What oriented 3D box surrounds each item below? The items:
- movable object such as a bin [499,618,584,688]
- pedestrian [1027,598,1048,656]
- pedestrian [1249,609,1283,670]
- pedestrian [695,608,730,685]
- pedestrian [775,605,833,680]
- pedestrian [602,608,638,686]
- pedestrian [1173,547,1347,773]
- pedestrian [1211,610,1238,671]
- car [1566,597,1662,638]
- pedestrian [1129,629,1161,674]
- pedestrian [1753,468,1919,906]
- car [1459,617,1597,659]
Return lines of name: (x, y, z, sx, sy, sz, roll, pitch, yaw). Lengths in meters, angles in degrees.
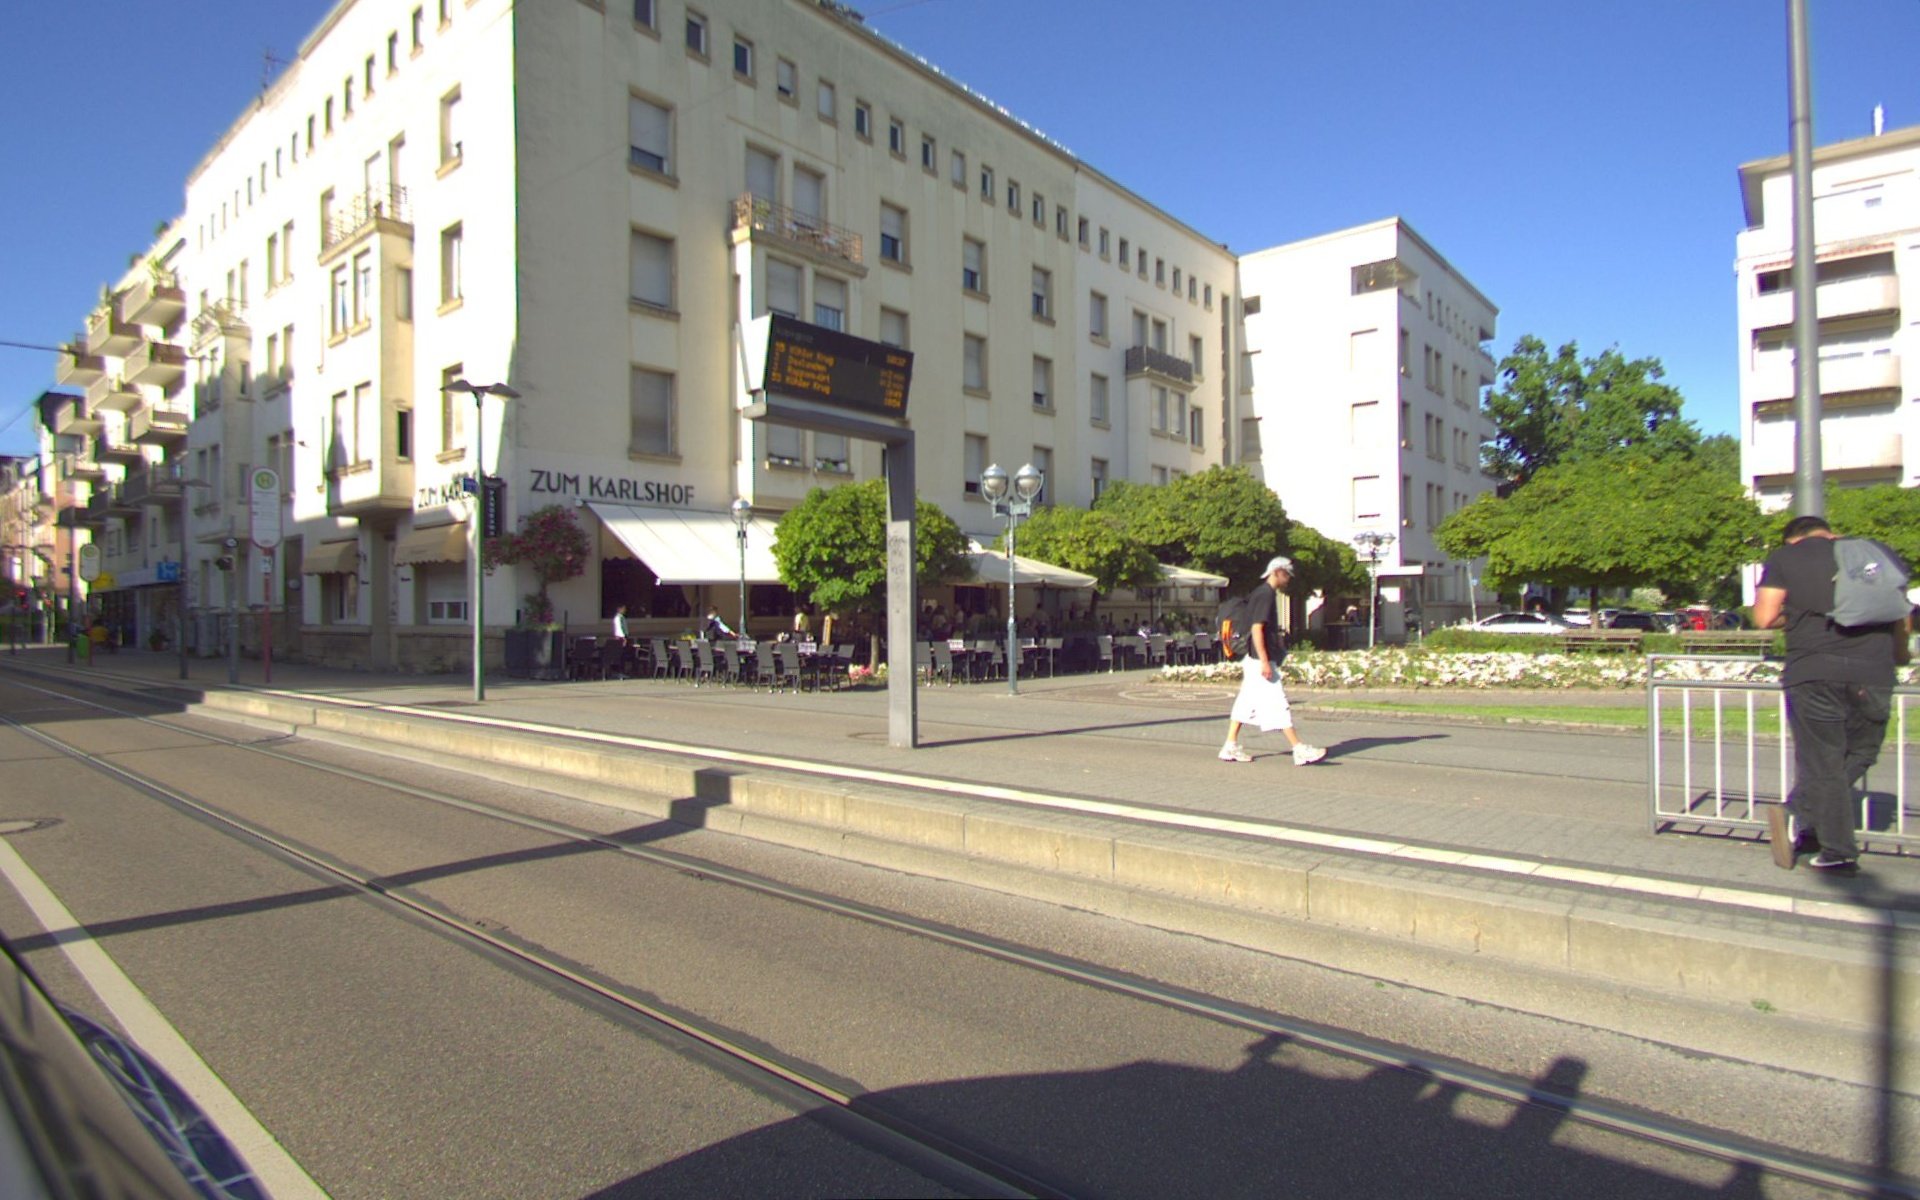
movable object such as a bin: (-8.840, 1.099, 21.385, 1.127, 1.410, 1.302, -1, -1, 40)
pedestrian: (2.500, 0.850, 32.527, 0.641, 1.837, 0.576, -1, -1, 5)
pedestrian: (9.106, 1.180, 30.115, 0.710, 1.750, 0.673, -2, -4, 1)
pedestrian: (-5.444, 1.030, 22.275, 0.663, 1.657, 0.678, -2, -4, -7)
pedestrian: (-3.568, 0.967, 23.161, 0.755, 1.657, 1.054, -5, -5, 36)
pedestrian: (-7.382, 1.025, 21.962, 0.662, 1.657, 0.753, -1, -4, -22)
pedestrian: (2.378, 0.465, 8.152, 0.958, 1.693, 0.999, 0, -2, -12)
pedestrian: (7.708, 1.191, 29.523, 0.677, 1.750, 0.671, -3, -4, 14)
car: (25.371, 0.682, 39.293, 2.932, 1.497, 1.399, -1, -1, 41)
pedestrian: (5.430, 1.499, 29.697, 0.672, 1.280, 0.636, -5, -5, 36)
pedestrian: (3.843, 0.353, 4.353, 0.607, 1.731, 0.542, -1, -3, 43)
car: (18.934, 1.240, 33.807, 3.713, 1.310, 1.973, -1, -1, 41)
